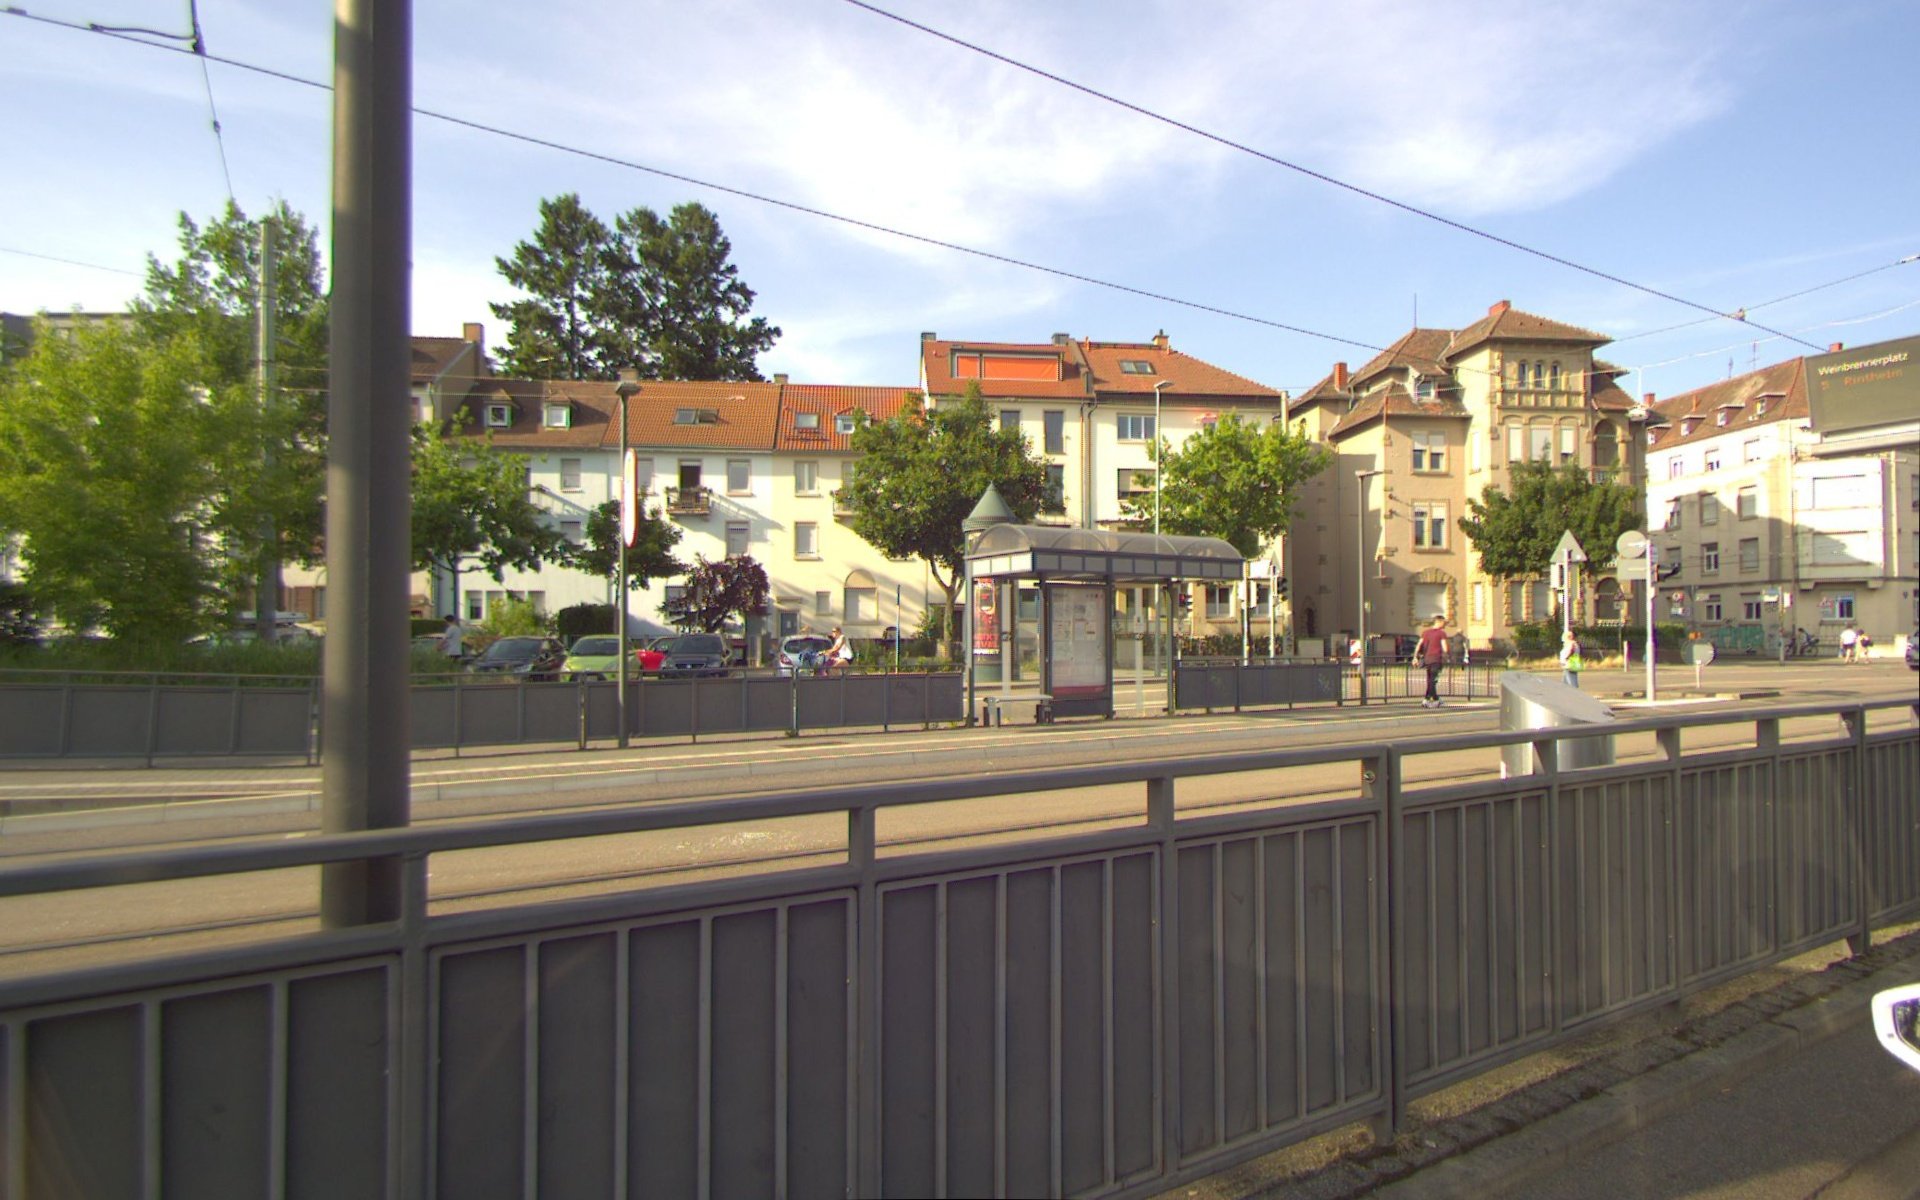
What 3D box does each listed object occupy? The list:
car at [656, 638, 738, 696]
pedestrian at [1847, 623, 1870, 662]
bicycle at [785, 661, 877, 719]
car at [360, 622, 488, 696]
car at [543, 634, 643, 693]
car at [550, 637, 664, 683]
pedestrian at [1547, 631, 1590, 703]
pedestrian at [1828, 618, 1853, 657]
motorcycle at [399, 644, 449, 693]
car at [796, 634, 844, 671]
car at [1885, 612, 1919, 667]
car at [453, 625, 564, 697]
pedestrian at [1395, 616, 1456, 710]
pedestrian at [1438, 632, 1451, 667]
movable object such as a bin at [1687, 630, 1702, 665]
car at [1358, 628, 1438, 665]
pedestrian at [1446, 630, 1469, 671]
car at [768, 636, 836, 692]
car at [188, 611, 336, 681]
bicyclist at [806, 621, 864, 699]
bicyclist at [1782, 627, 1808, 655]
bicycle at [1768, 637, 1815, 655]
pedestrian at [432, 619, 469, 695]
[{"bbox_3d":[-7.075,1.755,27.343,1.740,1.447,3.995,0,-2,-9],"label":"car"},{"bbox_3d":[44.138,2.088,49.334,0.642,1.872,0.670,1,-2,-32],"label":"pedestrian"},{"bbox_3d":[-2.811,1.940,21.929,1.842,1.125,0.722,1,1,-30],"label":"bicycle"},{"bbox_3d":[-13.893,1.495,26.289,1.822,1.777,3.993,0,-2,-11],"label":"car"},{"bbox_3d":[-9.737,1.636,26.936,1.740,1.447,3.995,0,-2,-9],"label":"car"},{"bbox_3d":[-12.190,2.056,34.863,3.444,1.544,1.567,0,-2,-7],"label":"car"},{"bbox_3d":[13.943,1.522,23.015,0.708,1.610,0.586,1,-2,-34],"label":"pedestrian"},{"bbox_3d":[43.763,1.853,49.930,0.616,1.905,0.659,0,-2,-15],"label":"pedestrian"},{"bbox_3d":[-11.922,1.518,22.357,0.912,1.065,0.496,1,-2,-37],"label":"motorcycle"},{"bbox_3d":[-6.117,2.279,44.318,1.821,1.578,3.998,0,-2,-4],"label":"car"},{"bbox_3d":[38.264,1.519,38.575,5.313,2.040,2.140,1,-2,-25],"label":"car"},{"bbox_3d":[-11.980,1.577,26.908,1.822,1.777,3.993,0,-2,-11],"label":"car"},{"bbox_3d":[8.677,1.156,18.726,0.874,1.692,0.666,1,-2,-33],"label":"pedestrian"},{"bbox_3d":[21.224,2.150,44.003,0.382,1.535,0.405,0,-2,-3],"label":"pedestrian"},{"bbox_3d":[36.807,2.377,50.365,0.259,1.732,2.379,-1,-2,29],"label":"movable object such as a bin"},{"bbox_3d":[20.428,2.140,47.031,1.742,1.653,3.998,0,-2,-5],"label":"car"},{"bbox_3d":[20.613,2.073,41.639,0.592,1.673,0.681,0,-1,-3],"label":"pedestrian"},{"bbox_3d":[-4.379,1.721,27.971,1.740,1.447,3.995,0,-2,-9],"label":"car"},{"bbox_3d":[-18.970,1.245,27.527,1.822,1.777,3.993,0,-2,-11],"label":"car"},{"bbox_3d":[-2.735,1.292,21.958,1.059,1.646,0.701,0,1,-29],"label":"bicyclist"},{"bbox_3d":[48.515,2.380,58.367,0.655,1.590,1.033,1,-2,-34],"label":"bicyclist"},{"bbox_3d":[48.408,2.678,58.516,0.734,1.019,1.980,1,-2,-32],"label":"bicycle"},{"bbox_3d":[-11.489,1.280,22.655,0.665,1.677,0.367,1,-2,-38],"label":"pedestrian"}]
